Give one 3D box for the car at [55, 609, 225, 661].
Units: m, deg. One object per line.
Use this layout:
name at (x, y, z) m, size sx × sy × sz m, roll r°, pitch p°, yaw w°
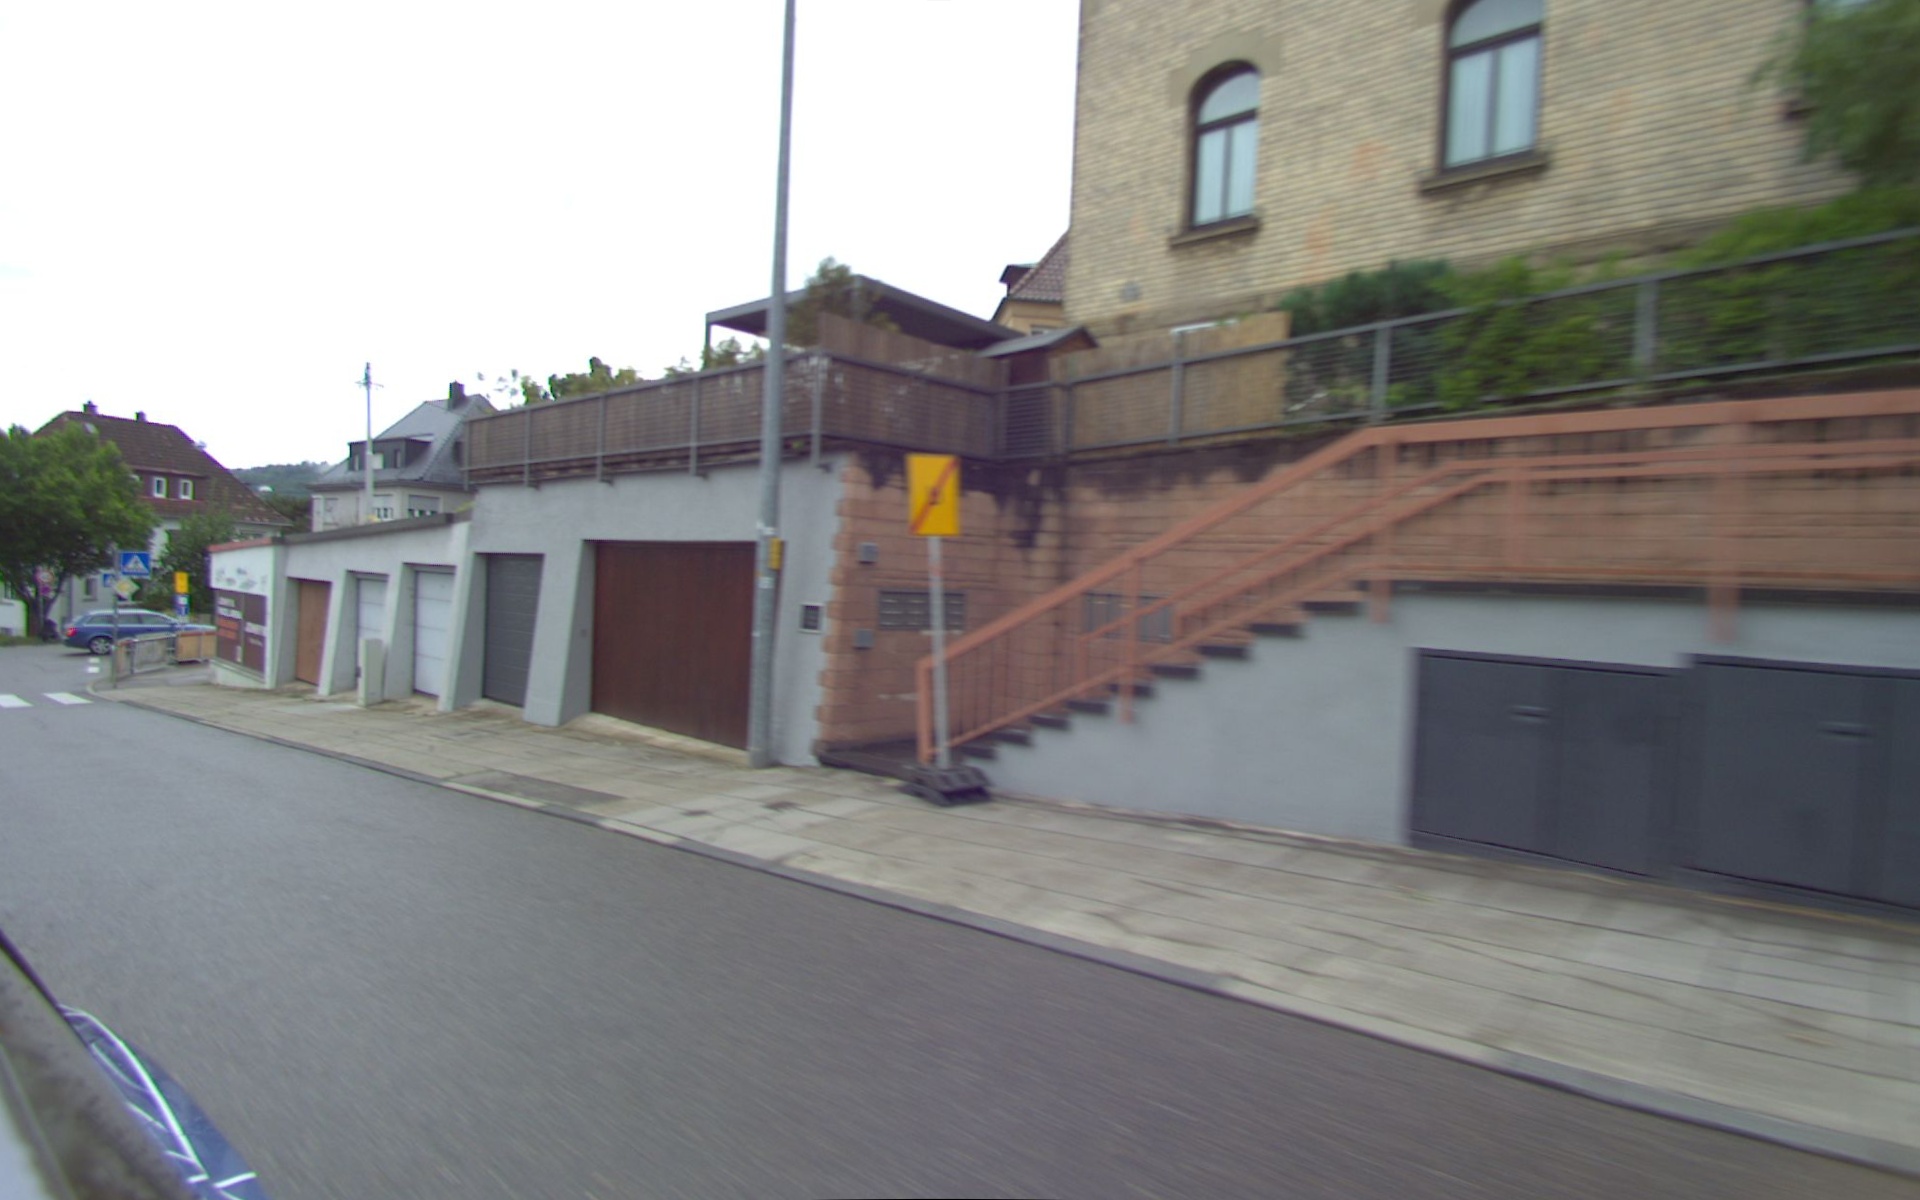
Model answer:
car at (-28.374, 1.156, 35.111) m, size 4.421 × 1.497 × 2.002 m, roll -1°, pitch 3°, yaw -44°
